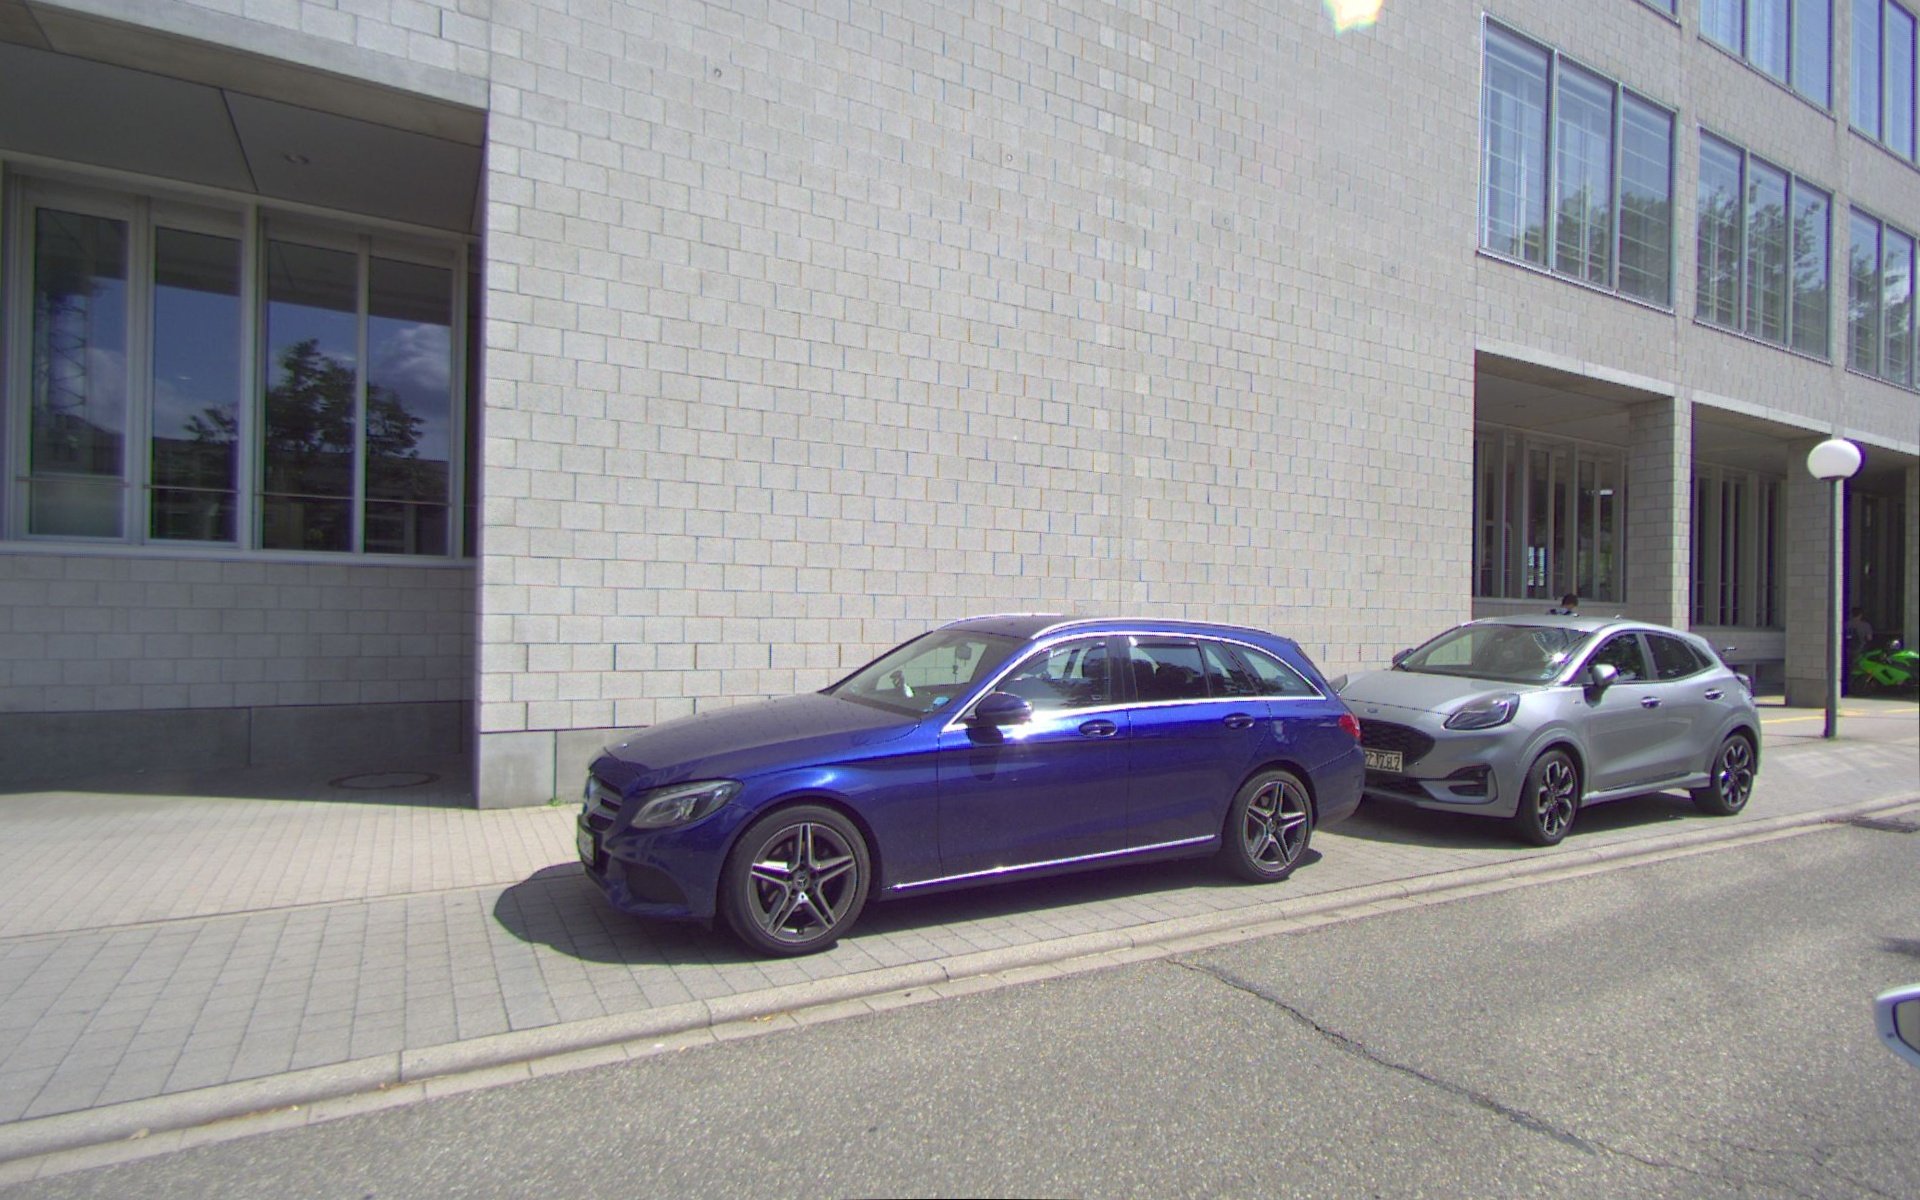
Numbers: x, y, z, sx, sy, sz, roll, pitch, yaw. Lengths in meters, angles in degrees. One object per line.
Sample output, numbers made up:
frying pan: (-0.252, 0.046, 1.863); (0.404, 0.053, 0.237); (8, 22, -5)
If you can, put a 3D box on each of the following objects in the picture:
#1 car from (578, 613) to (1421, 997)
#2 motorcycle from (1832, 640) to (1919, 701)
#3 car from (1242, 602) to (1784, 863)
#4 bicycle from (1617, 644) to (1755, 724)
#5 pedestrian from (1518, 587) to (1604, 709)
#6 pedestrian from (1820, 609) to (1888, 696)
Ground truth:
car: (0.388, 0.843, 5.739); (4.609, 1.442, 1.718); (1, 0, -30)
motorcycle: (19.060, 1.420, 20.225); (0.768, 1.153, 2.148); (1, 0, -39)
car: (4.490, 0.892, 7.998); (4.353, 1.555, 1.718); (2, 1, -30)
bicycle: (11.262, 1.280, 15.626); (0.602, 1.101, 1.628); (1, 0, -34)
pedestrian: (9.565, 0.747, 15.994); (1.002, 1.863, 0.773); (1, 0, -30)
pedestrian: (19.219, 1.115, 21.595); (0.913, 1.828, 0.799); (1, -2, -29)
